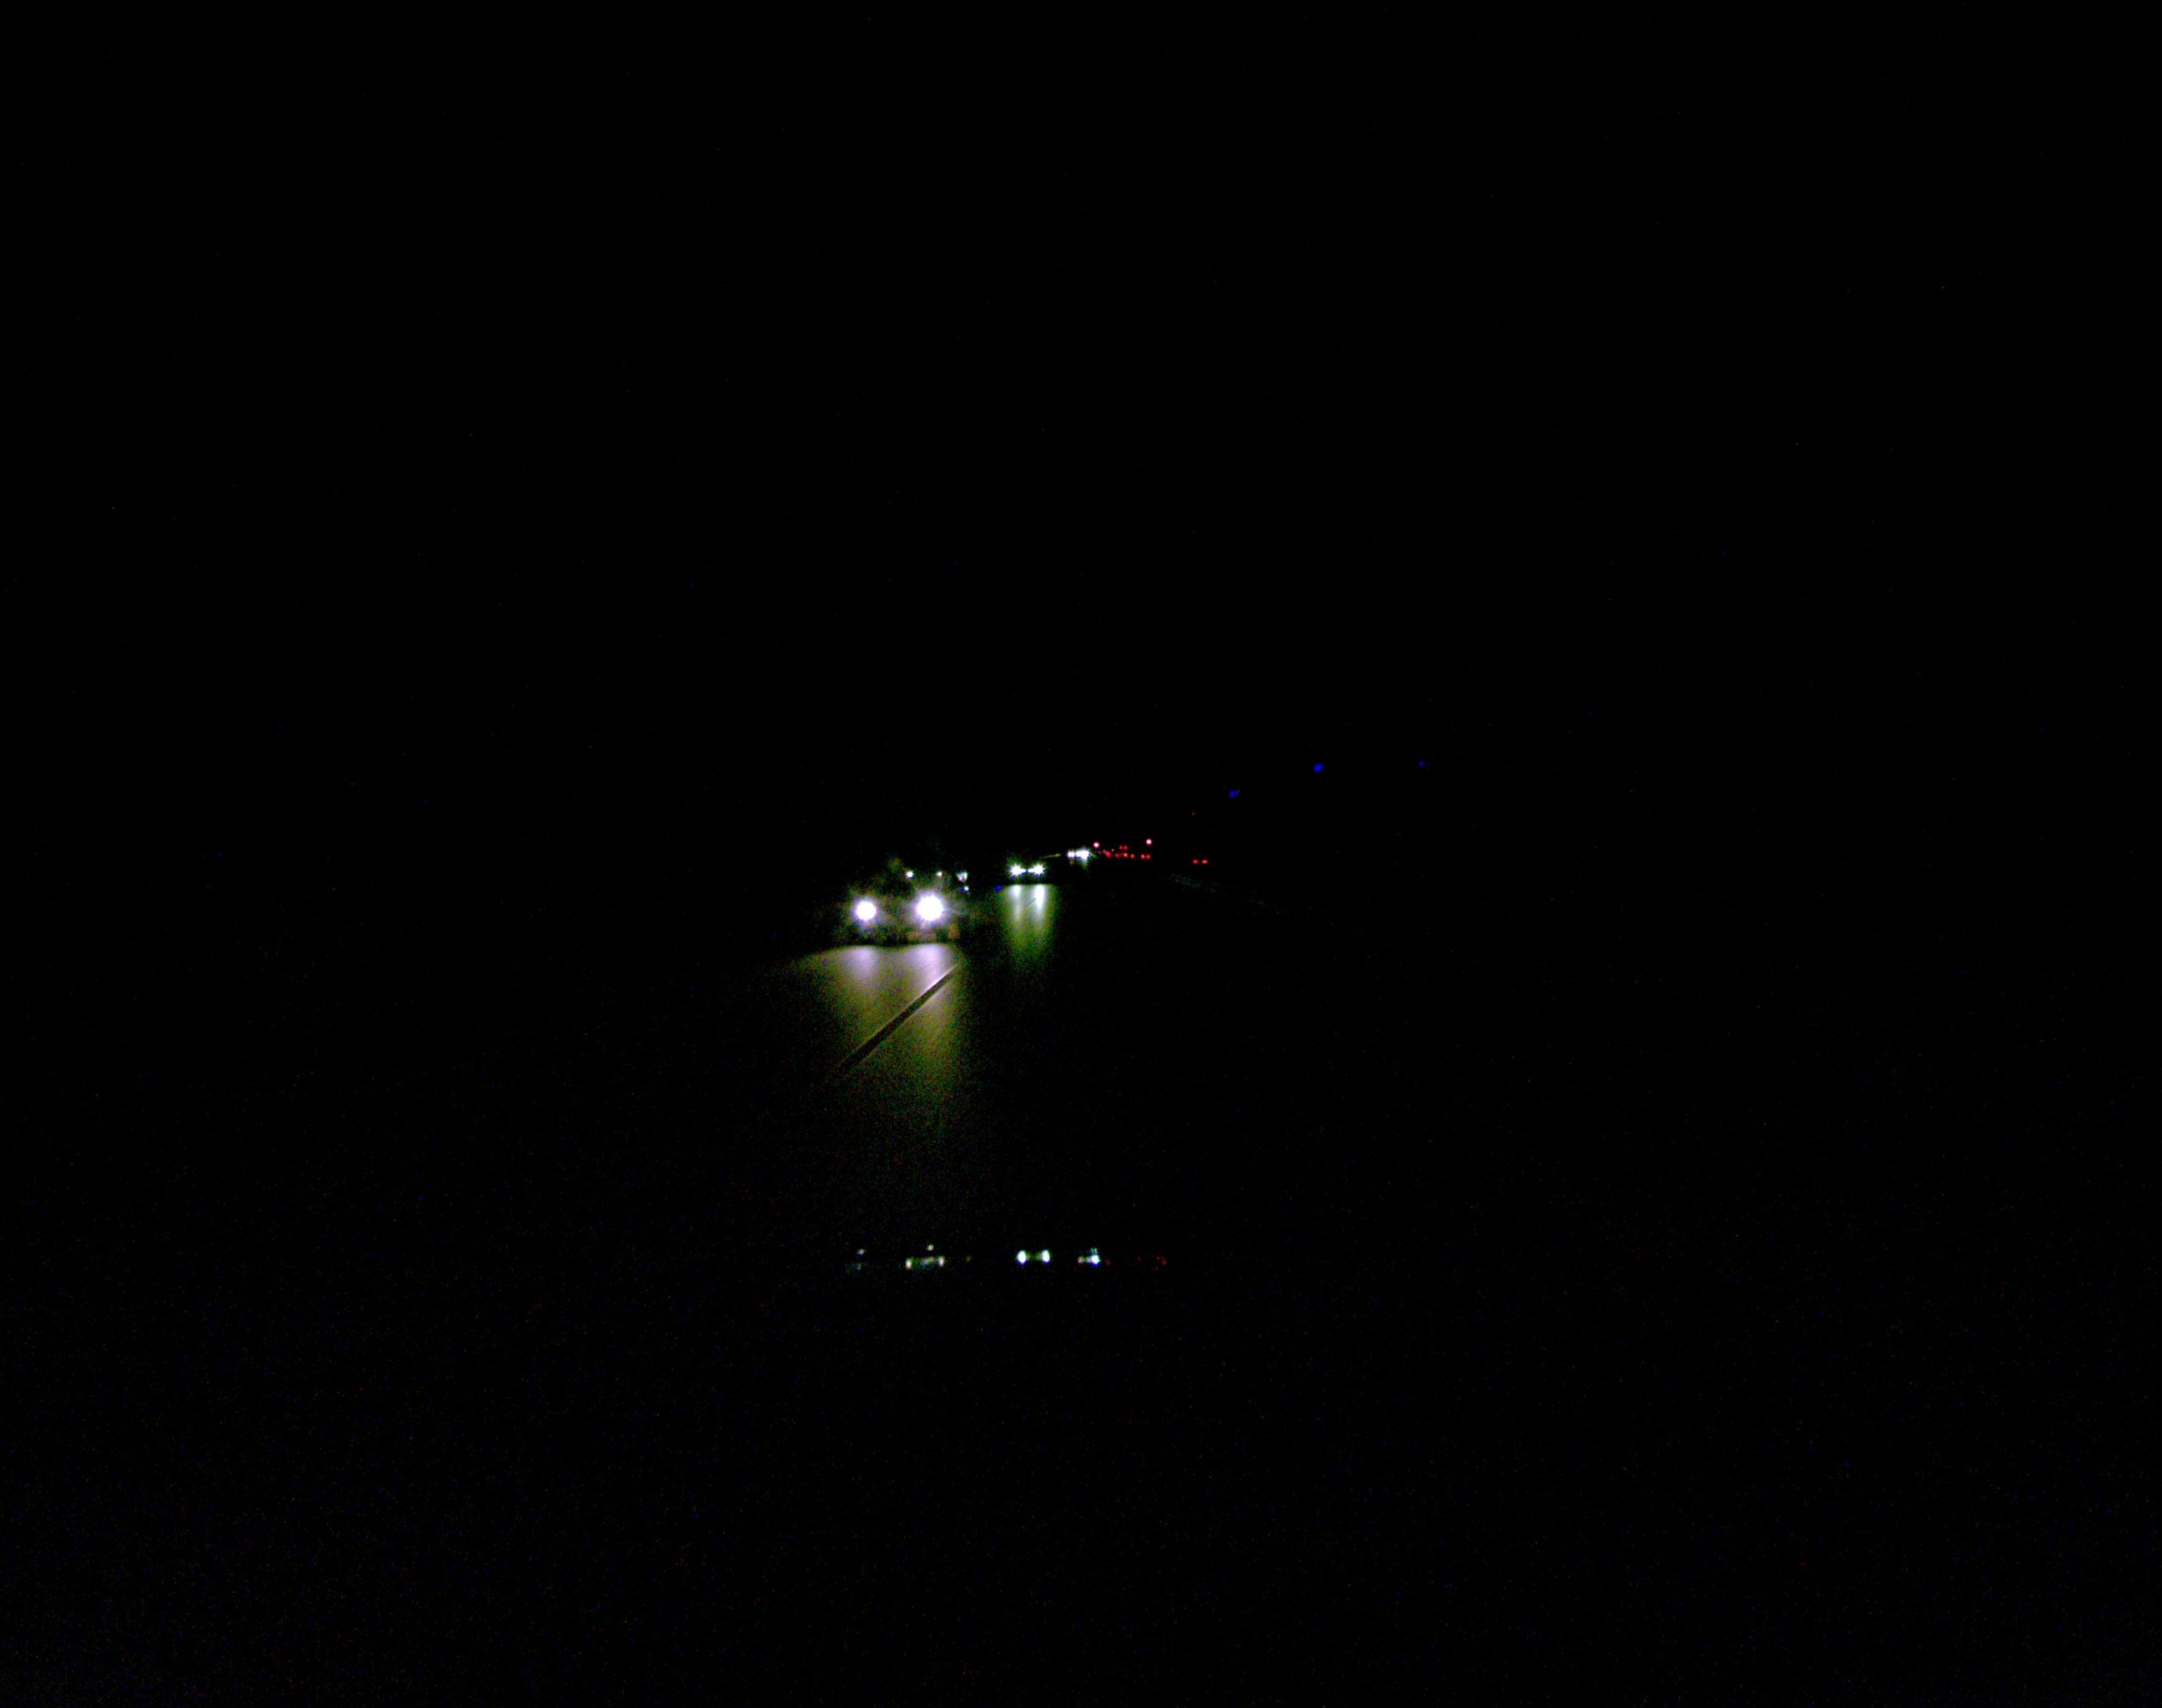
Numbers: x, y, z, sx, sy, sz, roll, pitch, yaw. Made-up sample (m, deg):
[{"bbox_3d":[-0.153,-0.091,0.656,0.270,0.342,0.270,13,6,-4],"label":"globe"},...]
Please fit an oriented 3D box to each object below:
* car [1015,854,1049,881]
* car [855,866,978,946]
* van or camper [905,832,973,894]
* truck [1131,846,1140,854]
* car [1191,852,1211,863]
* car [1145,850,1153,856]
[{"bbox_3d":[-3.001,0.811,47.624,1.795,1.532,4.225,-2,0,0],"label":"car"},{"bbox_3d":[-3.454,1.032,16.725,1.690,1.405,4.225,-3,0,0],"label":"car"},{"bbox_3d":[-6.928,0.412,37.944,2.213,2.755,6.802,-2,0,-2],"label":"van or camper"},{"bbox_3d":[13.715,-1.038,192.389,1.998,1.931,5.240,0,1,1],"label":"truck"},{"bbox_3d":[17.330,0.443,110.338,1.999,1.495,5.200,1,0,-1],"label":"car"},{"bbox_3d":[18.736,-0.271,209.516,1.998,1.476,4.800,0,0,0],"label":"car"}]
